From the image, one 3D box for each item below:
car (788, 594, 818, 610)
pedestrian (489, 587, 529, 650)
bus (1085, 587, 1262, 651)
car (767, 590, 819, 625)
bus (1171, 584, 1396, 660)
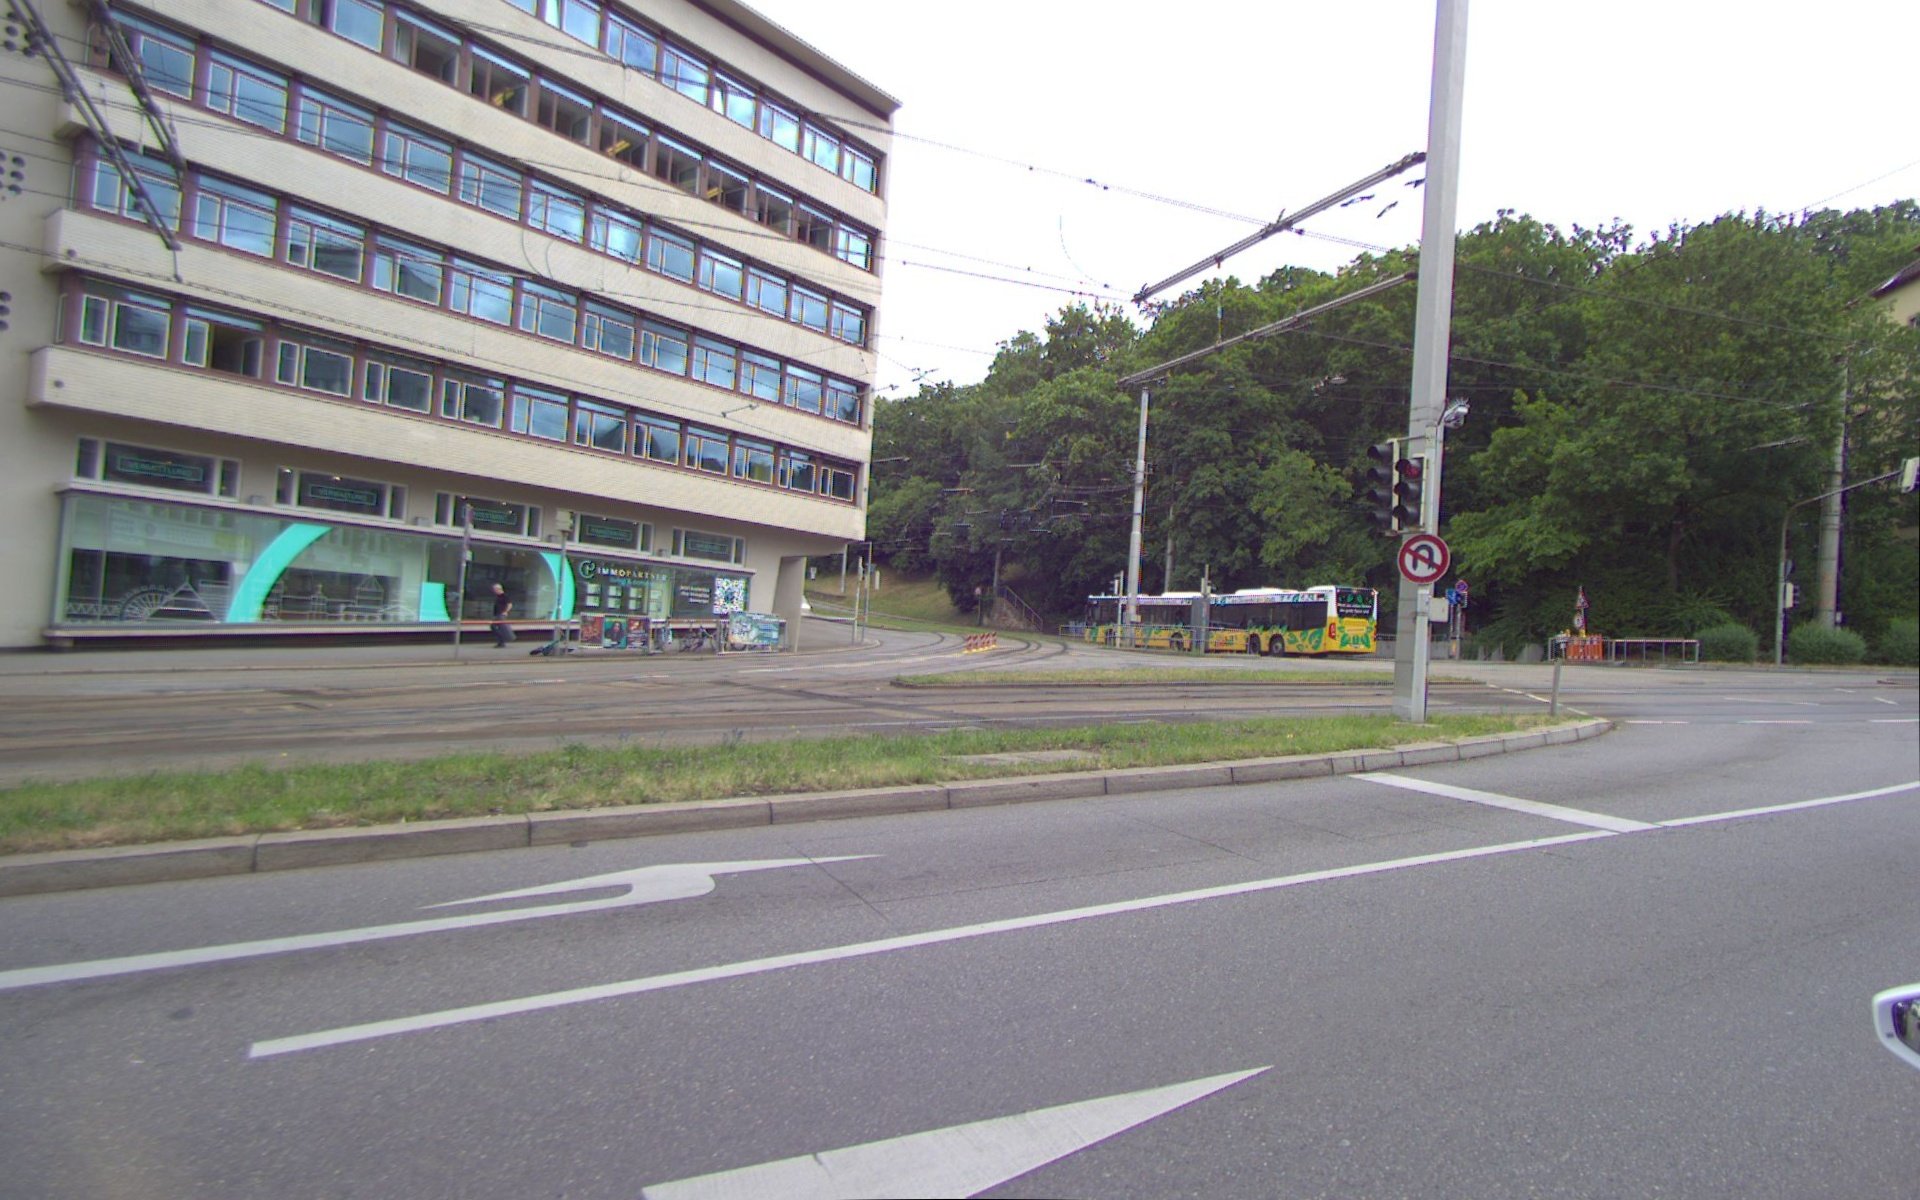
[{"bbox_3d":[-18.321,0.237,116.948,2.396,1.862,3.975,1,-1,-25],"label":"car"},{"bbox_3d":[-12.620,0.509,28.102,0.779,1.730,0.751,1,0,-44],"label":"pedestrian"},{"bbox_3d":[11.114,1.001,54.085,3.279,3.084,11.293,1,-1,-25],"label":"bus"},{"bbox_3d":[-10.217,0.442,61.099,1.975,2.040,3.971,1,-1,-28],"label":"car"},{"bbox_3d":[14.451,0.971,46.471,3.341,3.069,11.489,1,-1,-22],"label":"bus"}]
